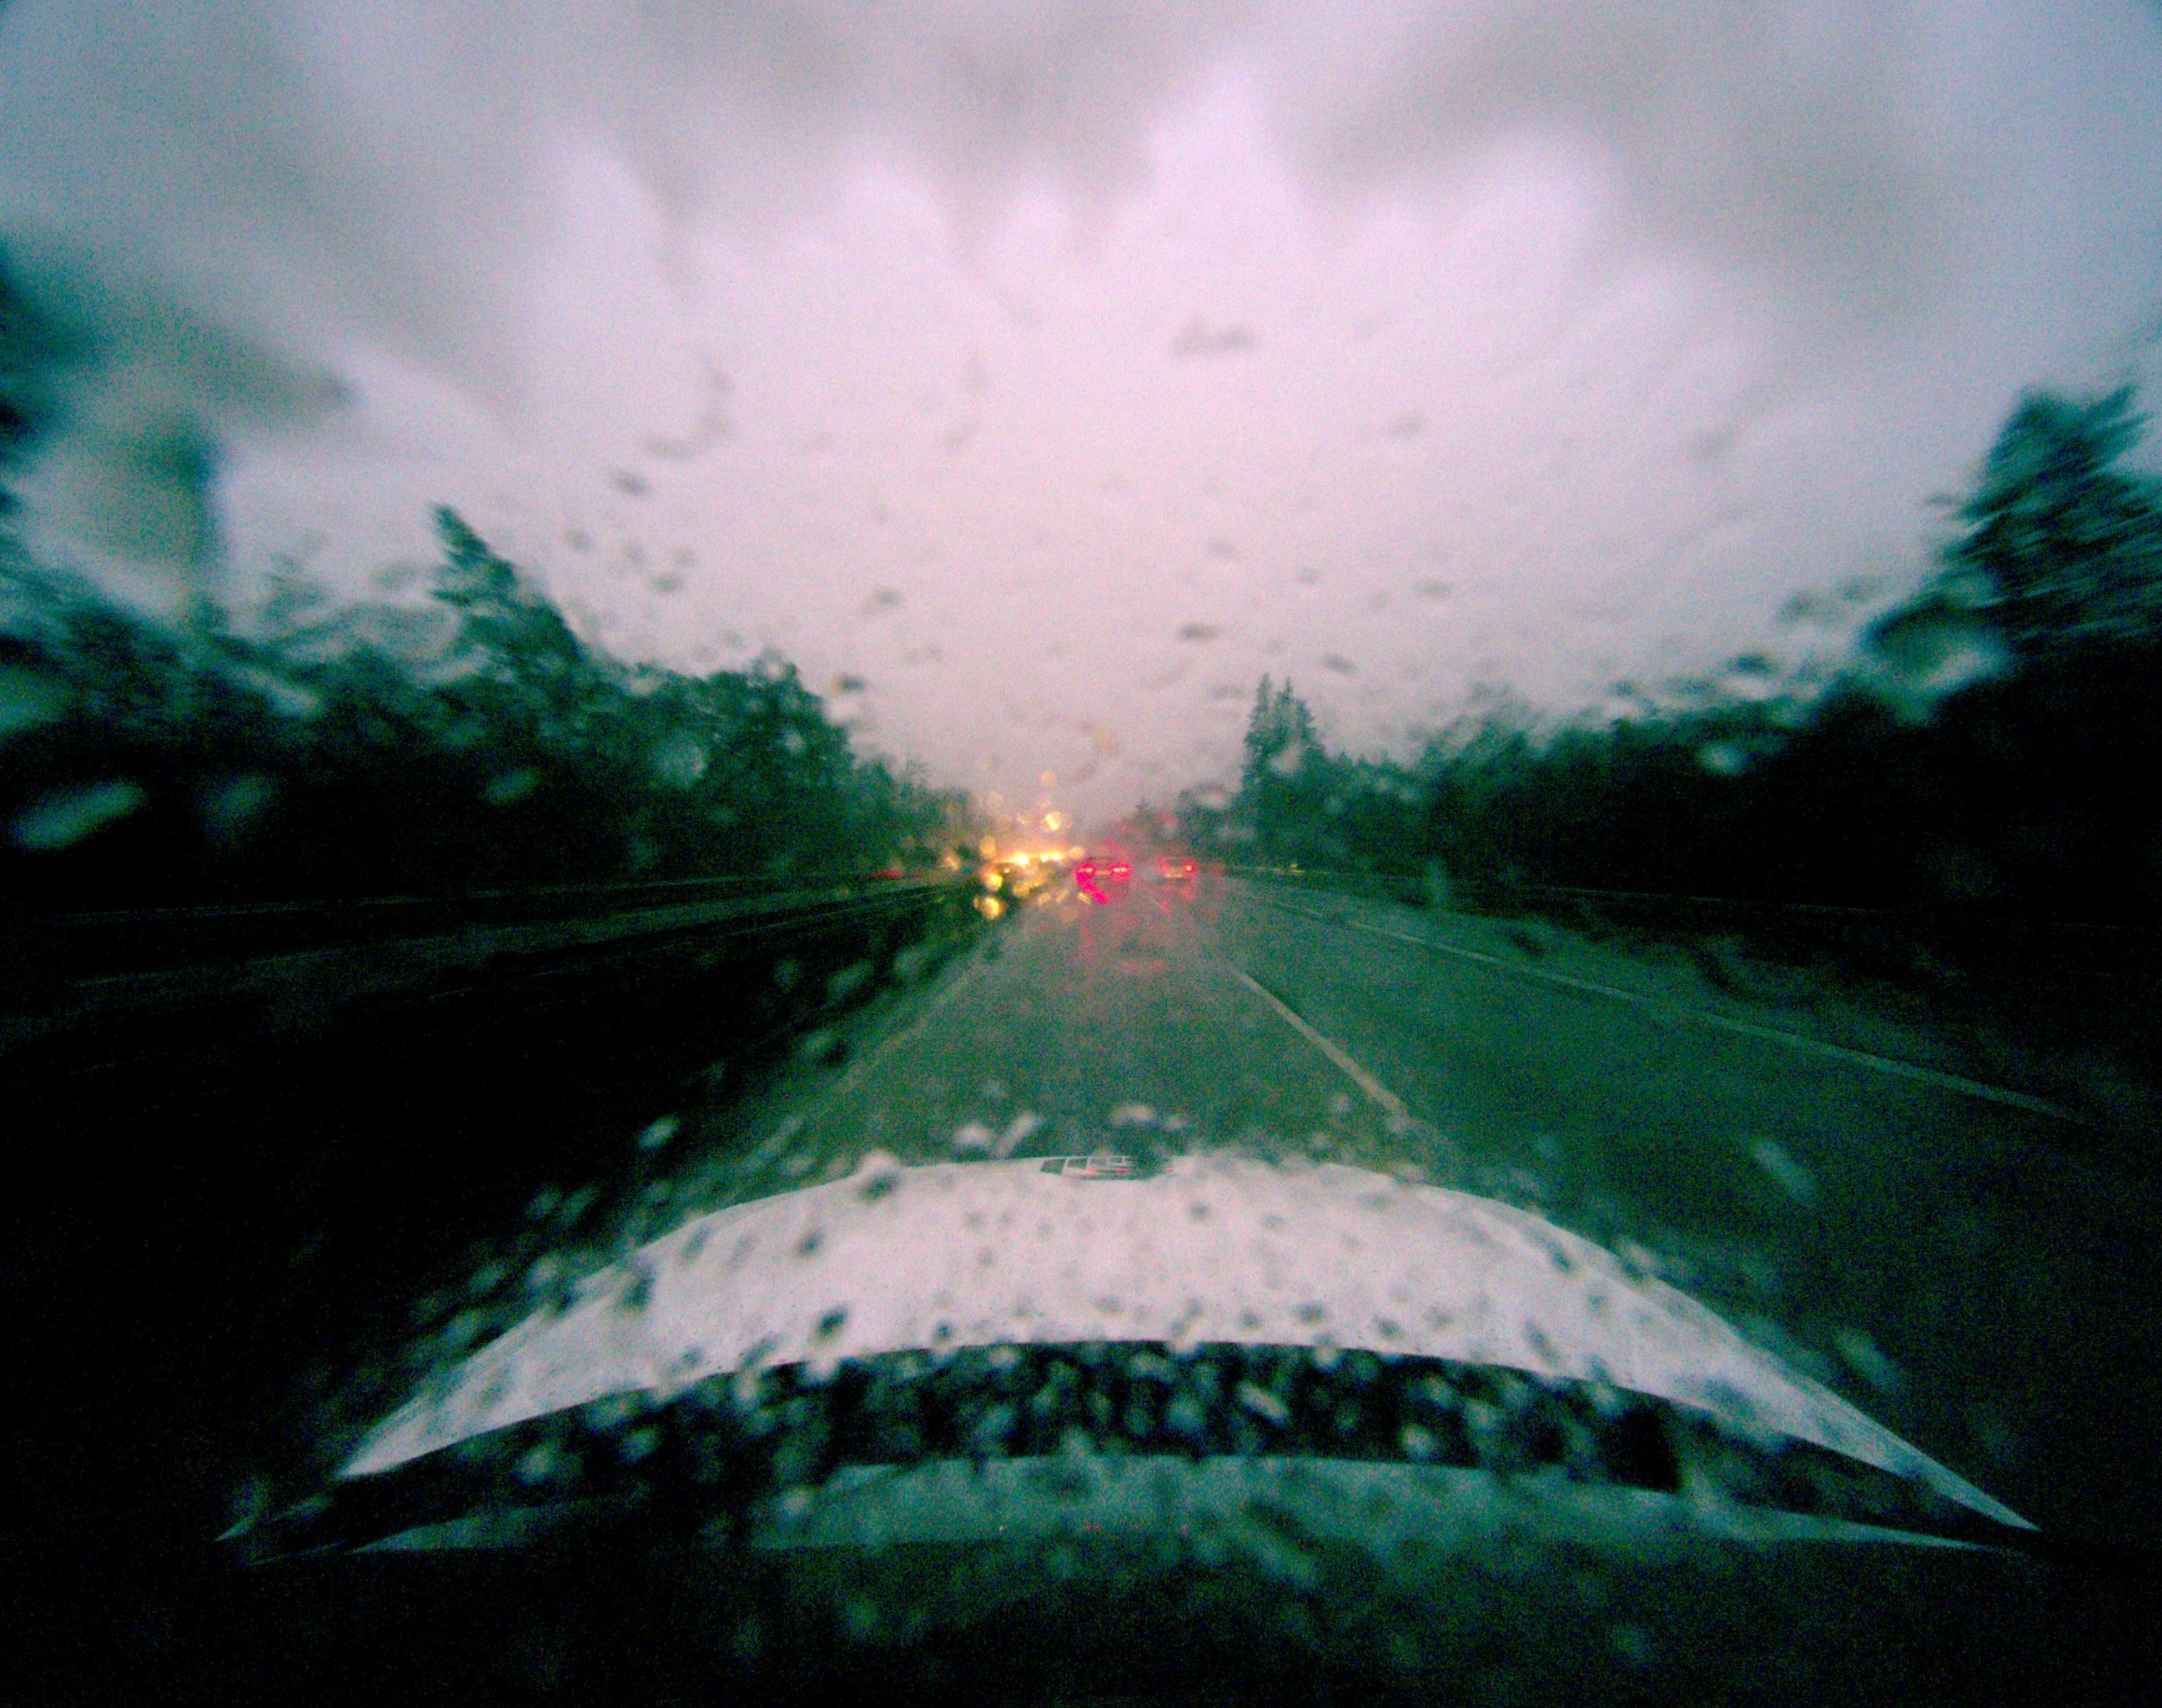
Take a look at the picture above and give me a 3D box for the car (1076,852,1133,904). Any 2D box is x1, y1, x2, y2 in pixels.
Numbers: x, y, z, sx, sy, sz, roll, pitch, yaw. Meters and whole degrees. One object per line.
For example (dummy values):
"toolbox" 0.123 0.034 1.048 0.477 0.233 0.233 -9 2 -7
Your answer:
"car" 0.901 0.846 30.410 1.978 1.767 4.175 -1 0 2

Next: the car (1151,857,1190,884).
"car" 4.898 0.883 44.854 1.774 1.437 3.536 -1 0 0
